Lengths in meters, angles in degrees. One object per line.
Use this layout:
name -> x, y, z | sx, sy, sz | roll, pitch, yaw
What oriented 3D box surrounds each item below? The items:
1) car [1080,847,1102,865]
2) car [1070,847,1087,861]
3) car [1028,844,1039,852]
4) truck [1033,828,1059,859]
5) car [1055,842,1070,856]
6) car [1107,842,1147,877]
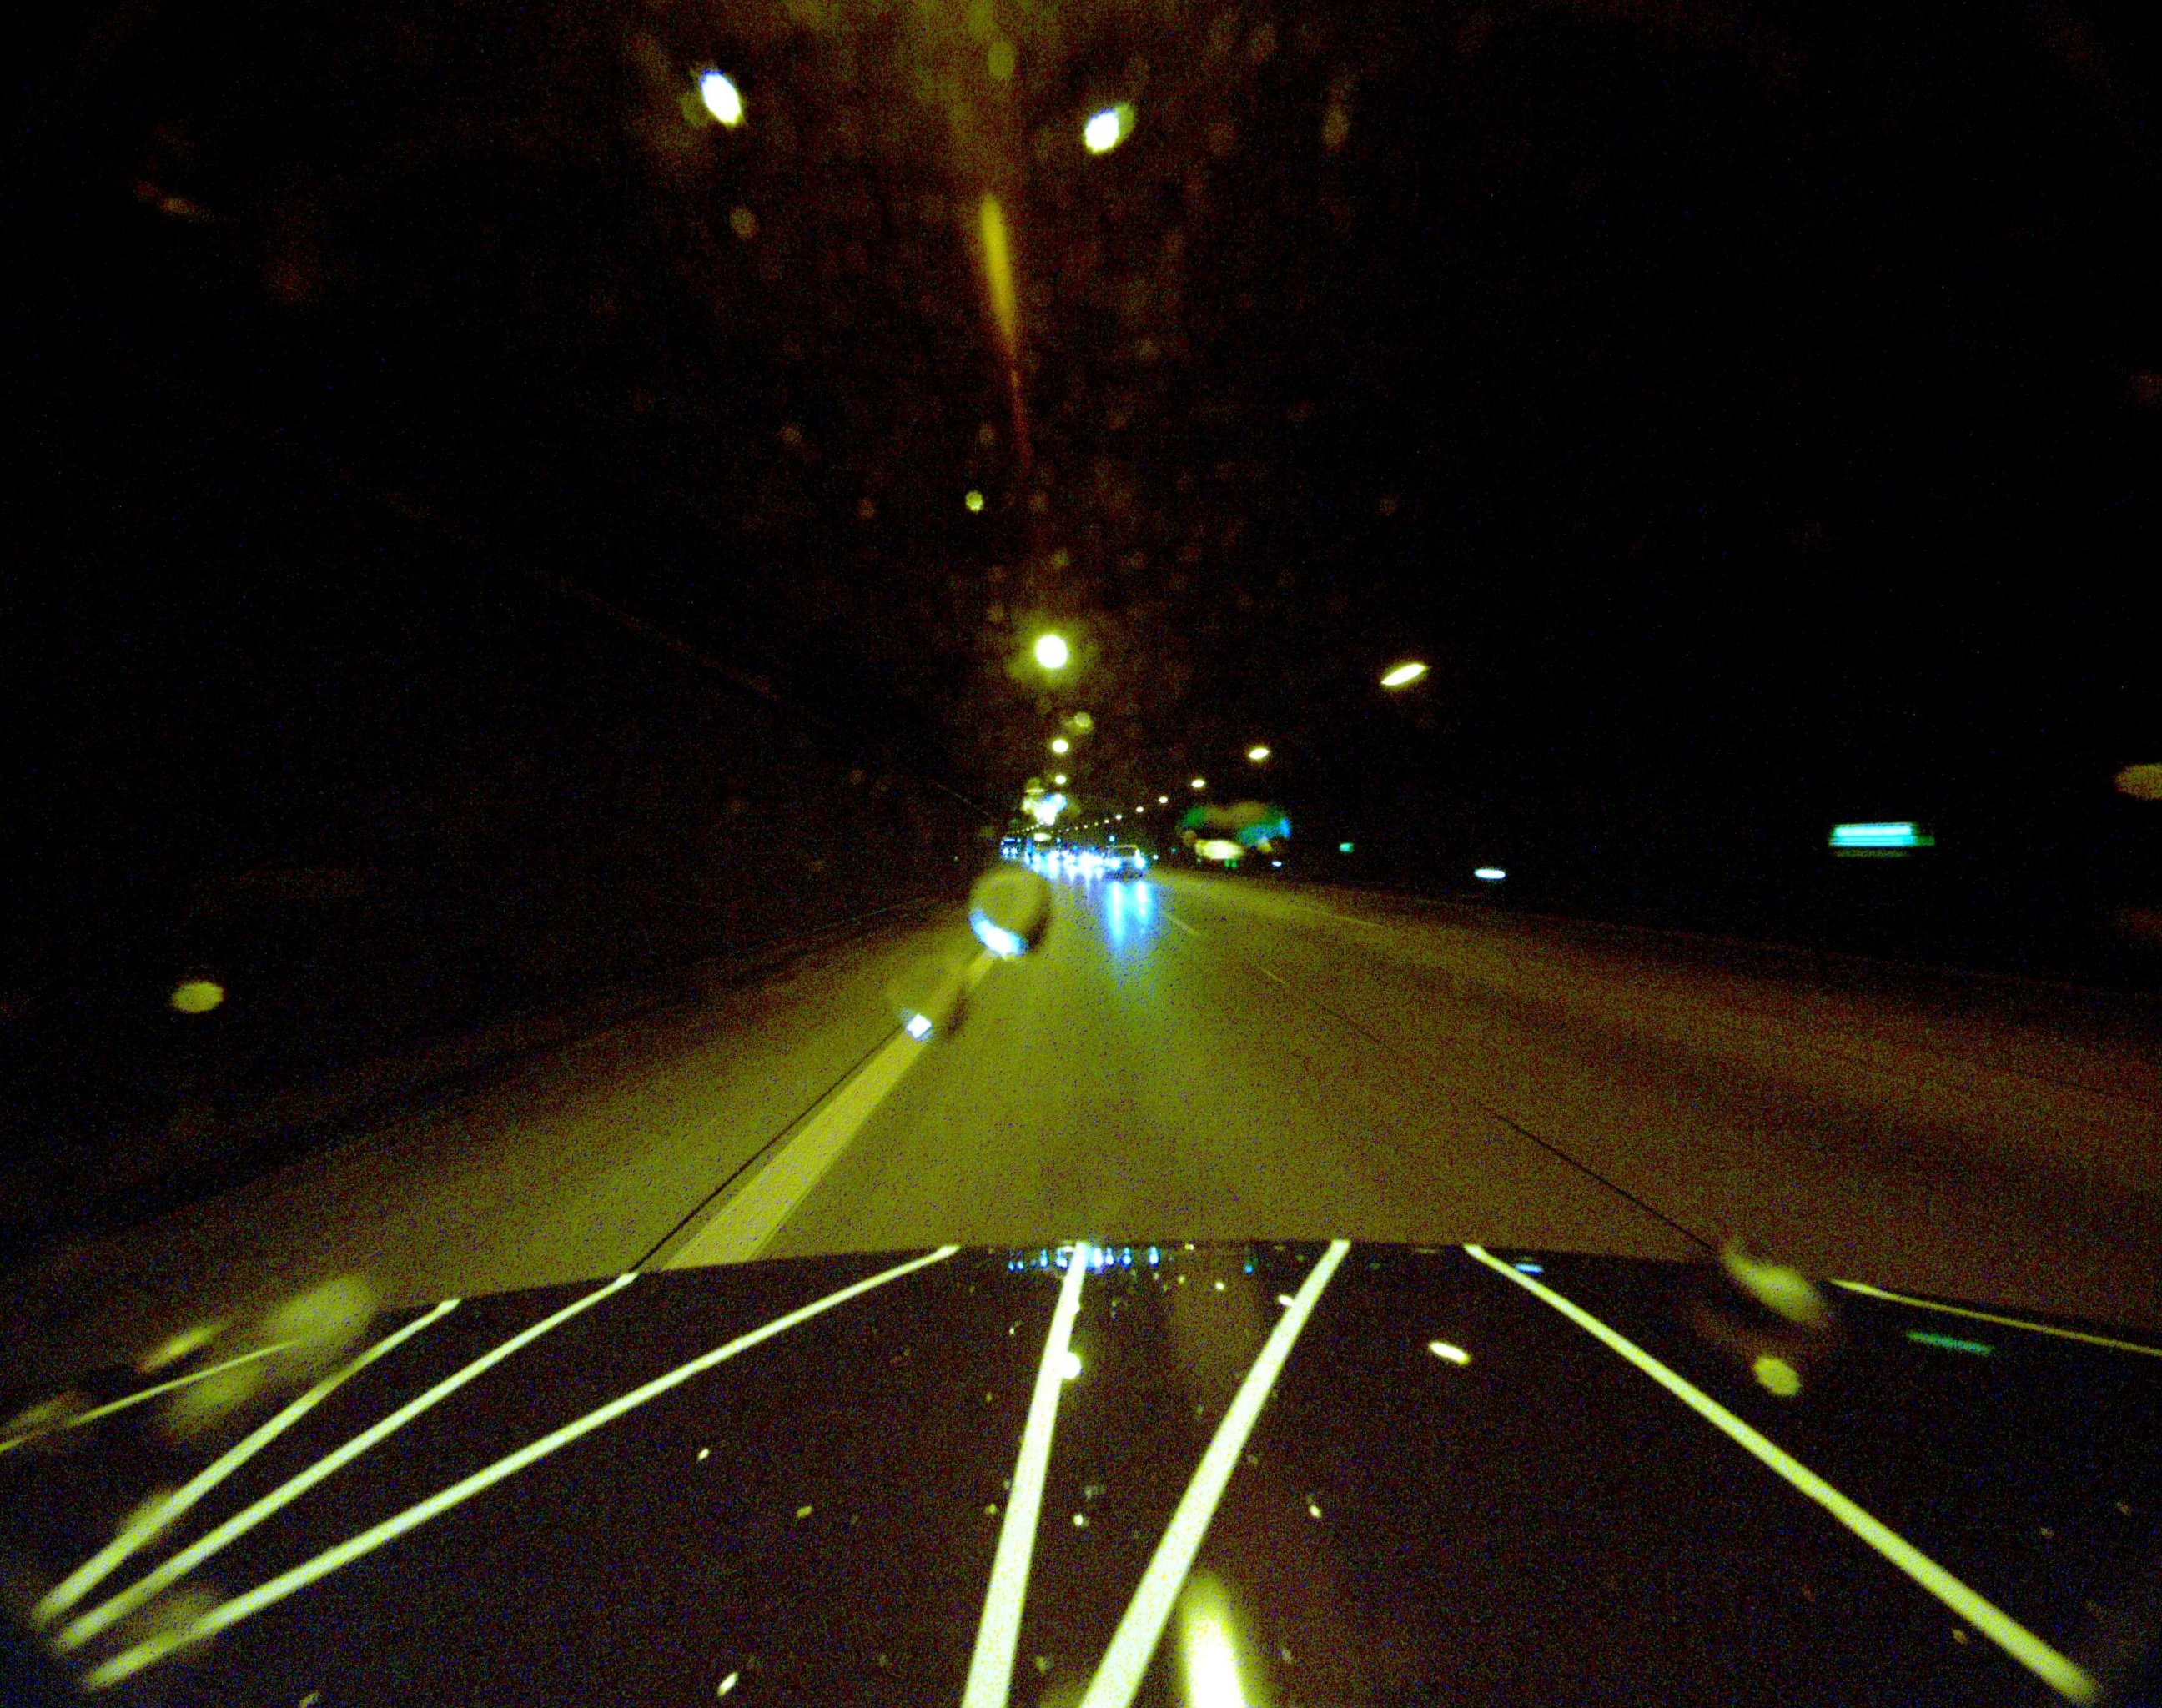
car -> 0.960, 0.193, 74.738 | 1.911, 1.637, 3.998 | -1, 0, -3
car -> -0.313, 0.041, 90.120 | 1.759, 1.567, 3.998 | -1, 0, -4
car -> -10.172, -1.308, 162.000 | 2.000, 1.729, 3.996 | -2, 1, -8
truck -> -4.921, -1.500, 105.631 | 3.144, 4.137, 7.381 | -2, 2, -6
car -> -2.976, -0.842, 121.076 | 2.000, 2.003, 3.995 | -2, 3, -7
car -> 2.796, 0.334, 47.288 | 1.999, 2.002, 4.360 | -2, 0, -2
